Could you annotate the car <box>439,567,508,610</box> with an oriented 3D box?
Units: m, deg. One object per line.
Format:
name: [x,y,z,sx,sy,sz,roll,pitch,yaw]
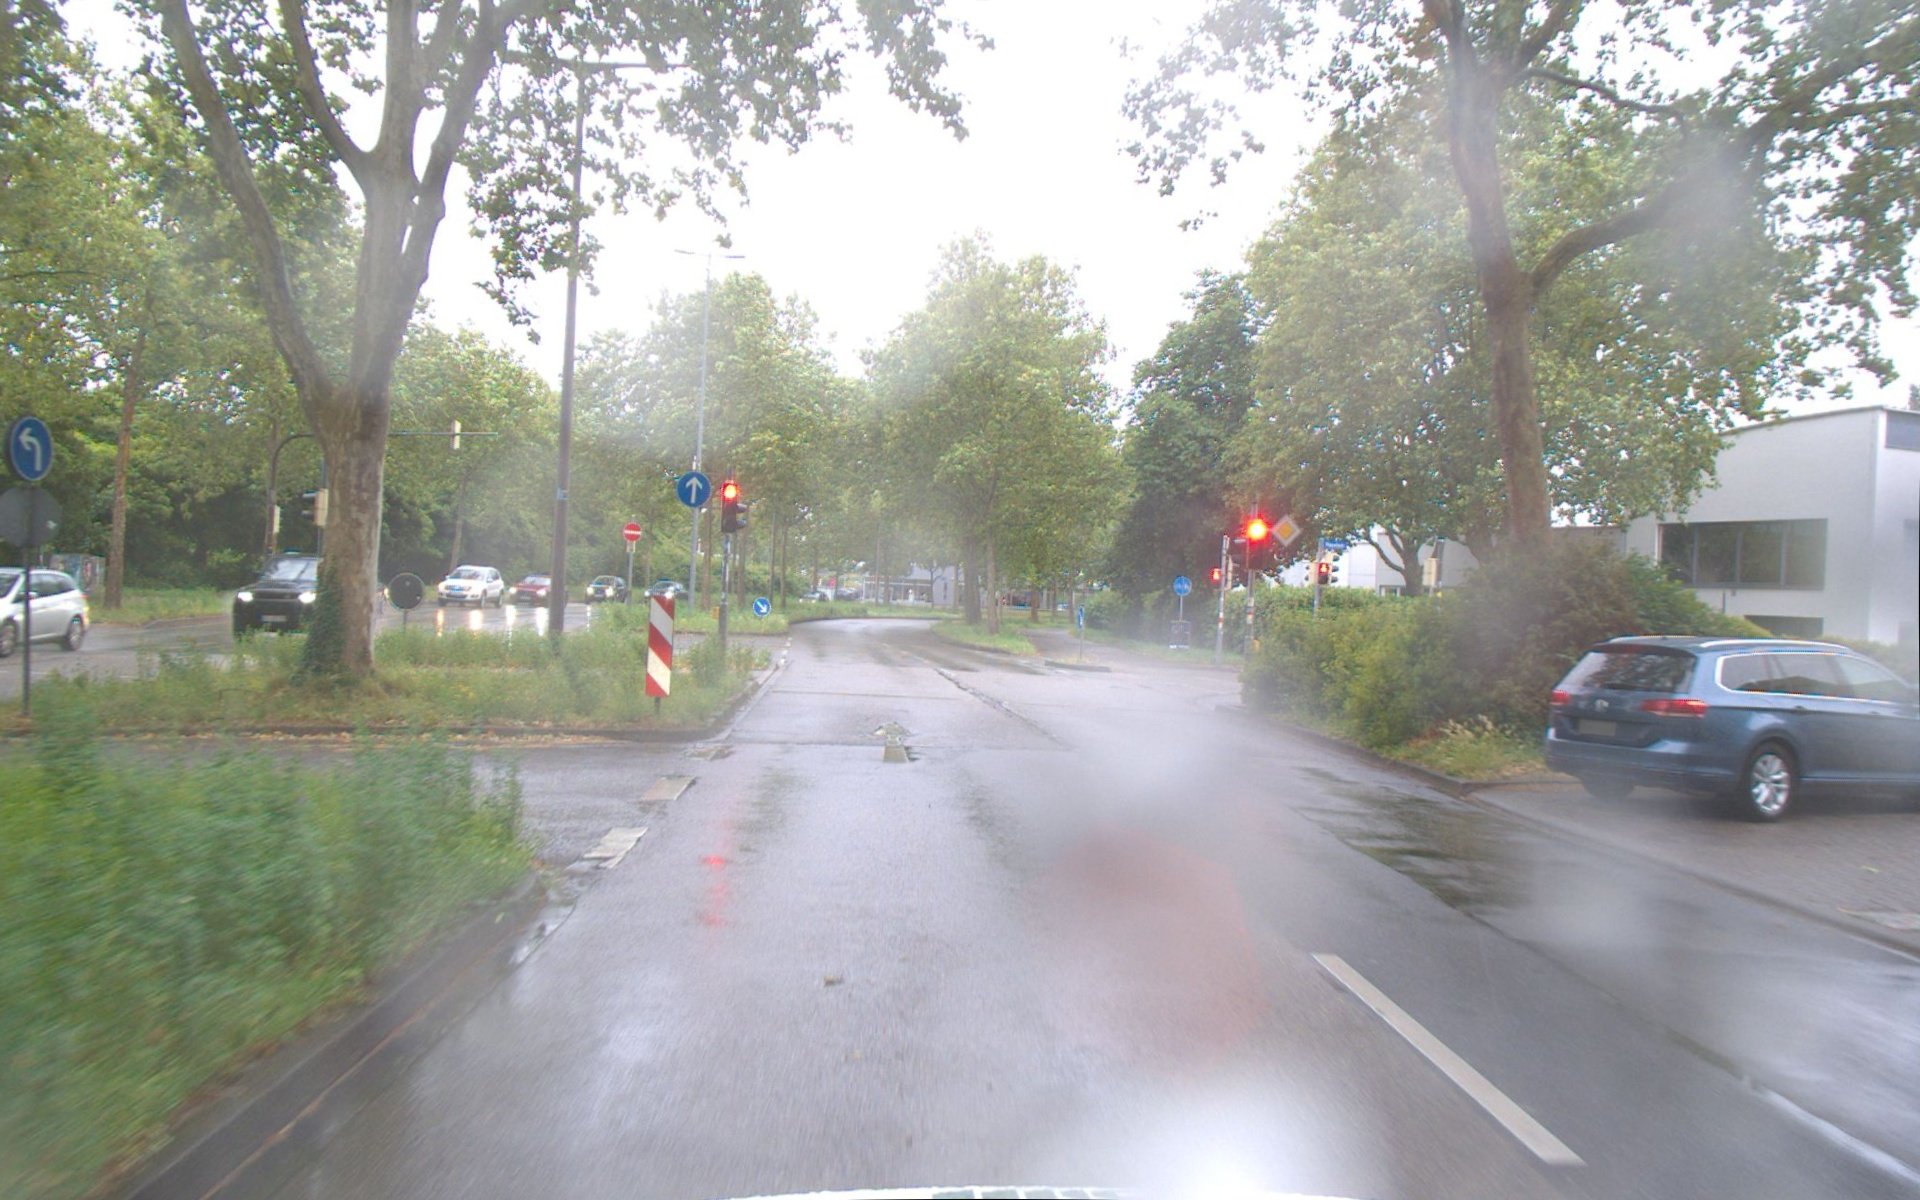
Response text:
car: [-20.105,-0.469,68.535,1.709,1.660,4.442,2,0,-3]

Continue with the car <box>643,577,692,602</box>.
car: [-17.690,-0.621,100.214,1.553,1.396,4.265,2,0,10]

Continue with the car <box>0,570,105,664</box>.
car: [-16.610,0.249,28.609,1.709,1.502,4.230,2,0,-5]

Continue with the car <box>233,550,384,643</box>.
car: [-14.438,-0.079,36.977,1.709,1.874,5.114,2,0,-5]

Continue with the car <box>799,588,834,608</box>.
car: [-11.172,-0.155,128.713,1.553,1.396,4.265,2,0,11]

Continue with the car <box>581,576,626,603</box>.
car: [-19.373,-0.568,90.050,1.554,1.396,3.335,2,0,2]

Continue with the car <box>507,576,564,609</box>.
car: [-20.113,-0.339,78.543,1.709,1.432,4.441,2,0,-3]

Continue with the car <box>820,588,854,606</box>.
car: [-15.351,-0.346,206.805,3.918,2.049,1.993,3,-2,-13]

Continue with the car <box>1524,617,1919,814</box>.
car: [7.294,0.999,14.654,4.427,1.484,1.734,3,0,-27]
